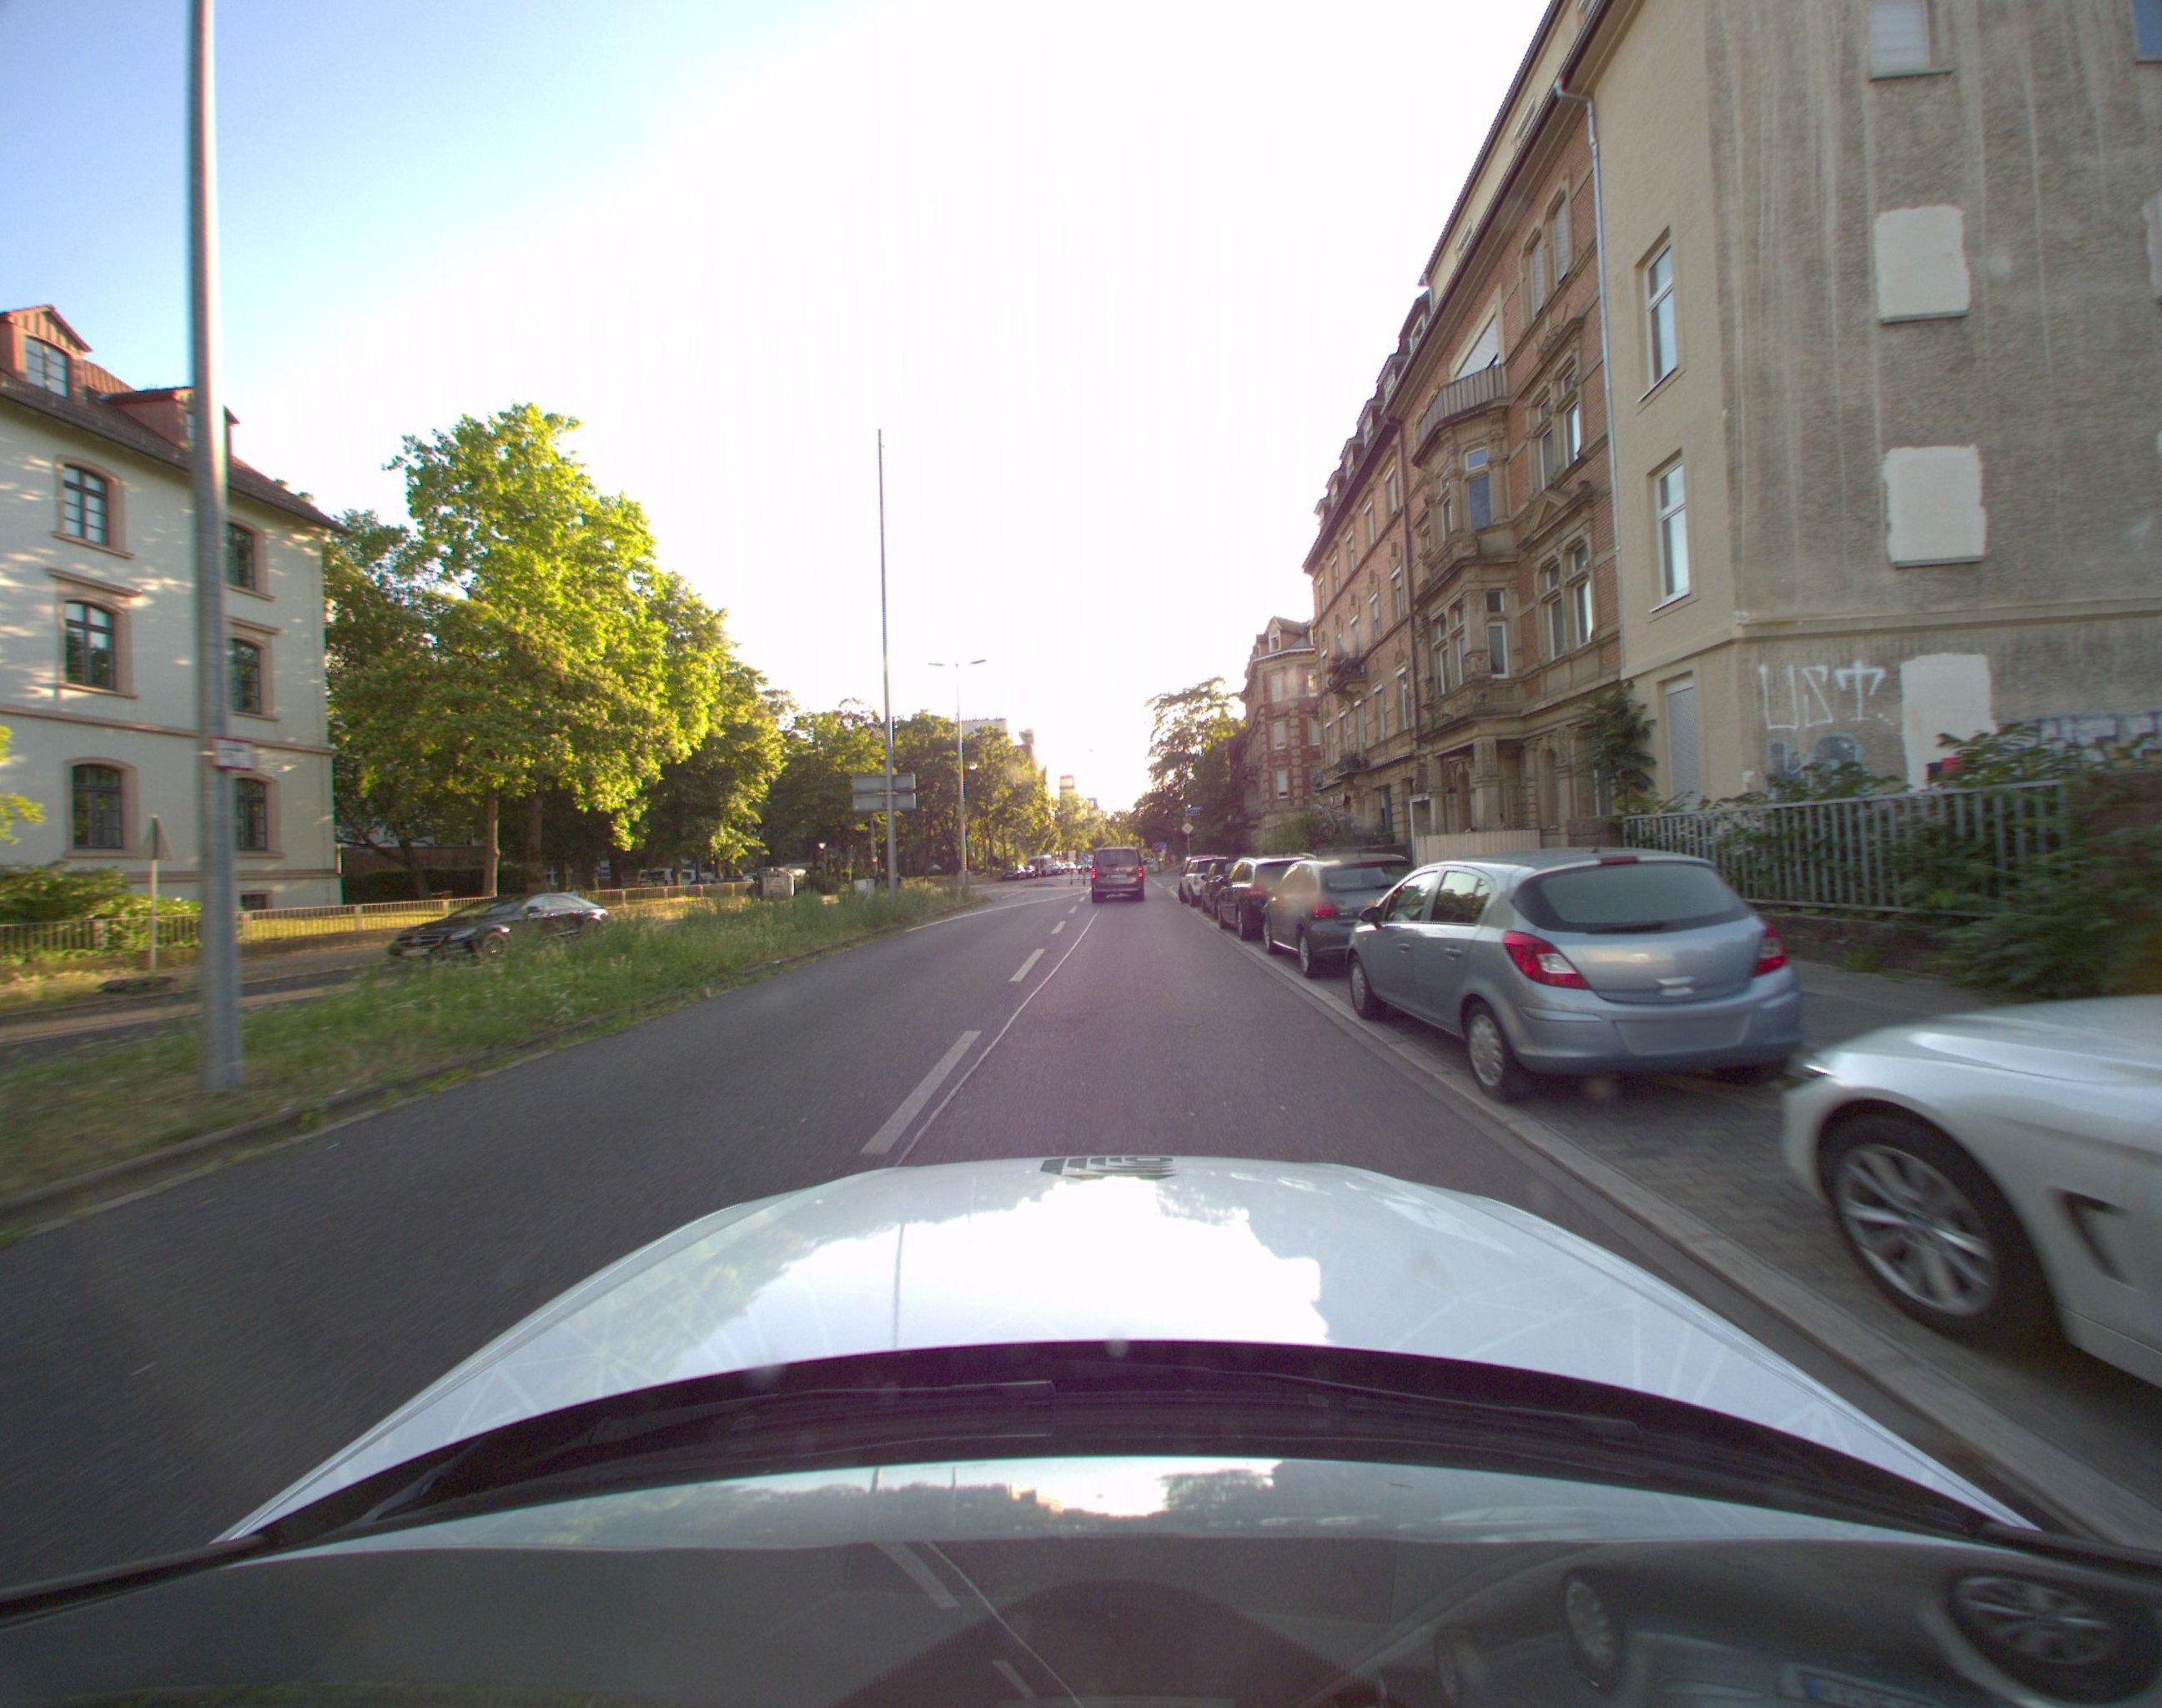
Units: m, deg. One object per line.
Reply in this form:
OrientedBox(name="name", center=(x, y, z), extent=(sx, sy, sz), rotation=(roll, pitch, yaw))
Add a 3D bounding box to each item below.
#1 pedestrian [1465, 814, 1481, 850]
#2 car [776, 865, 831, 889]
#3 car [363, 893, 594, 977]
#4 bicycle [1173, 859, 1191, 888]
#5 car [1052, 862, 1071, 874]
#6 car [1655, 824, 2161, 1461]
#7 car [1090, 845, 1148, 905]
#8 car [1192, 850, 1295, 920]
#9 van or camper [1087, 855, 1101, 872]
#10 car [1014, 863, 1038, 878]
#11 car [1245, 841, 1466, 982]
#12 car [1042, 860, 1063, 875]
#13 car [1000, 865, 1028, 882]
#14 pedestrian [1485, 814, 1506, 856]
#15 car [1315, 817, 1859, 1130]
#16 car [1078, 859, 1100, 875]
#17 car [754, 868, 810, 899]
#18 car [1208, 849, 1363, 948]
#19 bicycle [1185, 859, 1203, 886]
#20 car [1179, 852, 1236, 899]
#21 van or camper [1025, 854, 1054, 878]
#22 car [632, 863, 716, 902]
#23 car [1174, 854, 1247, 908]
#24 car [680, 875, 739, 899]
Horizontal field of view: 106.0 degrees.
OrientedBox(name="pedestrian", center=(9.633, -0.548, 20.009), extent=(0.305, 0.870, 0.322), rotation=(-1, -1, 35))
OrientedBox(name="car", center=(-30.870, 2.538, 90.694), extent=(2.244, 2.485, 5.267), rotation=(-3, -1, 41))
OrientedBox(name="car", center=(-12.803, 1.654, 17.679), extent=(1.767, 1.273, 4.011), rotation=(-6, -1, 3))
OrientedBox(name="bicycle", center=(4.998, 0.978, 40.413), extent=(0.563, 1.299, 2.266), rotation=(-6, -2, 3))
OrientedBox(name="car", center=(-2.491, 1.812, 105.187), extent=(1.726, 1.445, 4.634), rotation=(-3, 0, 7))
OrientedBox(name="car", center=(3.301, 0.650, 1.172), extent=(1.721, 1.385, 4.645), rotation=(-6, -1, 3))
OrientedBox(name="car", center=(1.361, 0.728, 29.560), extent=(1.880, 1.925, 3.841), rotation=(-3, 0, 2))
OrientedBox(name="car", center=(4.044, 0.734, 20.973), extent=(1.880, 1.426, 4.345), rotation=(-6, -1, 3))
OrientedBox(name="van or camper", center=(2.135, 1.557, 132.980), extent=(1.985, 2.669, 6.044), rotation=(-1, 0, 3))
OrientedBox(name="car", center=(-5.668, 1.703, 84.775), extent=(1.620, 1.429, 4.250), rotation=(-4, -1, 7))
OrientedBox(name="car", center=(3.504, 0.667, 11.185), extent=(1.740, 1.426, 3.842), rotation=(-6, -1, 2))
OrientedBox(name="car", center=(-3.459, 1.638, 99.721), extent=(1.856, 1.645, 4.580), rotation=(-3, -1, 7))
OrientedBox(name="car", center=(-6.461, 1.834, 78.811), extent=(1.614, 1.506, 4.554), rotation=(-3, -1, 8))
OrientedBox(name="pedestrian", center=(10.452, -0.470, 20.539), extent=(0.398, 1.029, 0.322), rotation=(-1, -1, 35))
OrientedBox(name="car", center=(3.232, 0.648, 6.260), extent=(1.694, 1.487, 3.893), rotation=(-6, -1, 1))
OrientedBox(name="car", center=(1.025, 1.576, 98.803), extent=(1.865, 1.706, 4.579), rotation=(-5, -1, 9))
OrientedBox(name="car", center=(-18.947, 1.816, 51.806), extent=(1.811, 1.795, 4.003), rotation=(-2, 0, 3))
OrientedBox(name="car", center=(3.716, 0.744, 15.664), extent=(1.880, 1.448, 4.466), rotation=(-6, -1, 2))
OrientedBox(name="bicycle", center=(5.572, 0.924, 40.398), extent=(0.563, 1.275, 2.266), rotation=(-6, -2, 3))
OrientedBox(name="car", center=(4.644, 0.757, 30.354), extent=(1.718, 1.465, 3.551), rotation=(-6, -1, 4))
OrientedBox(name="van or camper", center=(-4.631, 1.329, 92.367), extent=(2.080, 2.468, 6.317), rotation=(-4, -1, 7))
OrientedBox(name="car", center=(-26.310, 1.801, 52.926), extent=(2.201, 2.289, 5.112), rotation=(-2, 0, 10))
OrientedBox(name="car", center=(3.976, 0.801, 25.527), extent=(1.671, 1.426, 3.677), rotation=(-6, -1, 1))
OrientedBox(name="car", center=(-23.743, 2.089, 52.144), extent=(1.725, 1.332, 4.003), rotation=(-2, 0, 3))
